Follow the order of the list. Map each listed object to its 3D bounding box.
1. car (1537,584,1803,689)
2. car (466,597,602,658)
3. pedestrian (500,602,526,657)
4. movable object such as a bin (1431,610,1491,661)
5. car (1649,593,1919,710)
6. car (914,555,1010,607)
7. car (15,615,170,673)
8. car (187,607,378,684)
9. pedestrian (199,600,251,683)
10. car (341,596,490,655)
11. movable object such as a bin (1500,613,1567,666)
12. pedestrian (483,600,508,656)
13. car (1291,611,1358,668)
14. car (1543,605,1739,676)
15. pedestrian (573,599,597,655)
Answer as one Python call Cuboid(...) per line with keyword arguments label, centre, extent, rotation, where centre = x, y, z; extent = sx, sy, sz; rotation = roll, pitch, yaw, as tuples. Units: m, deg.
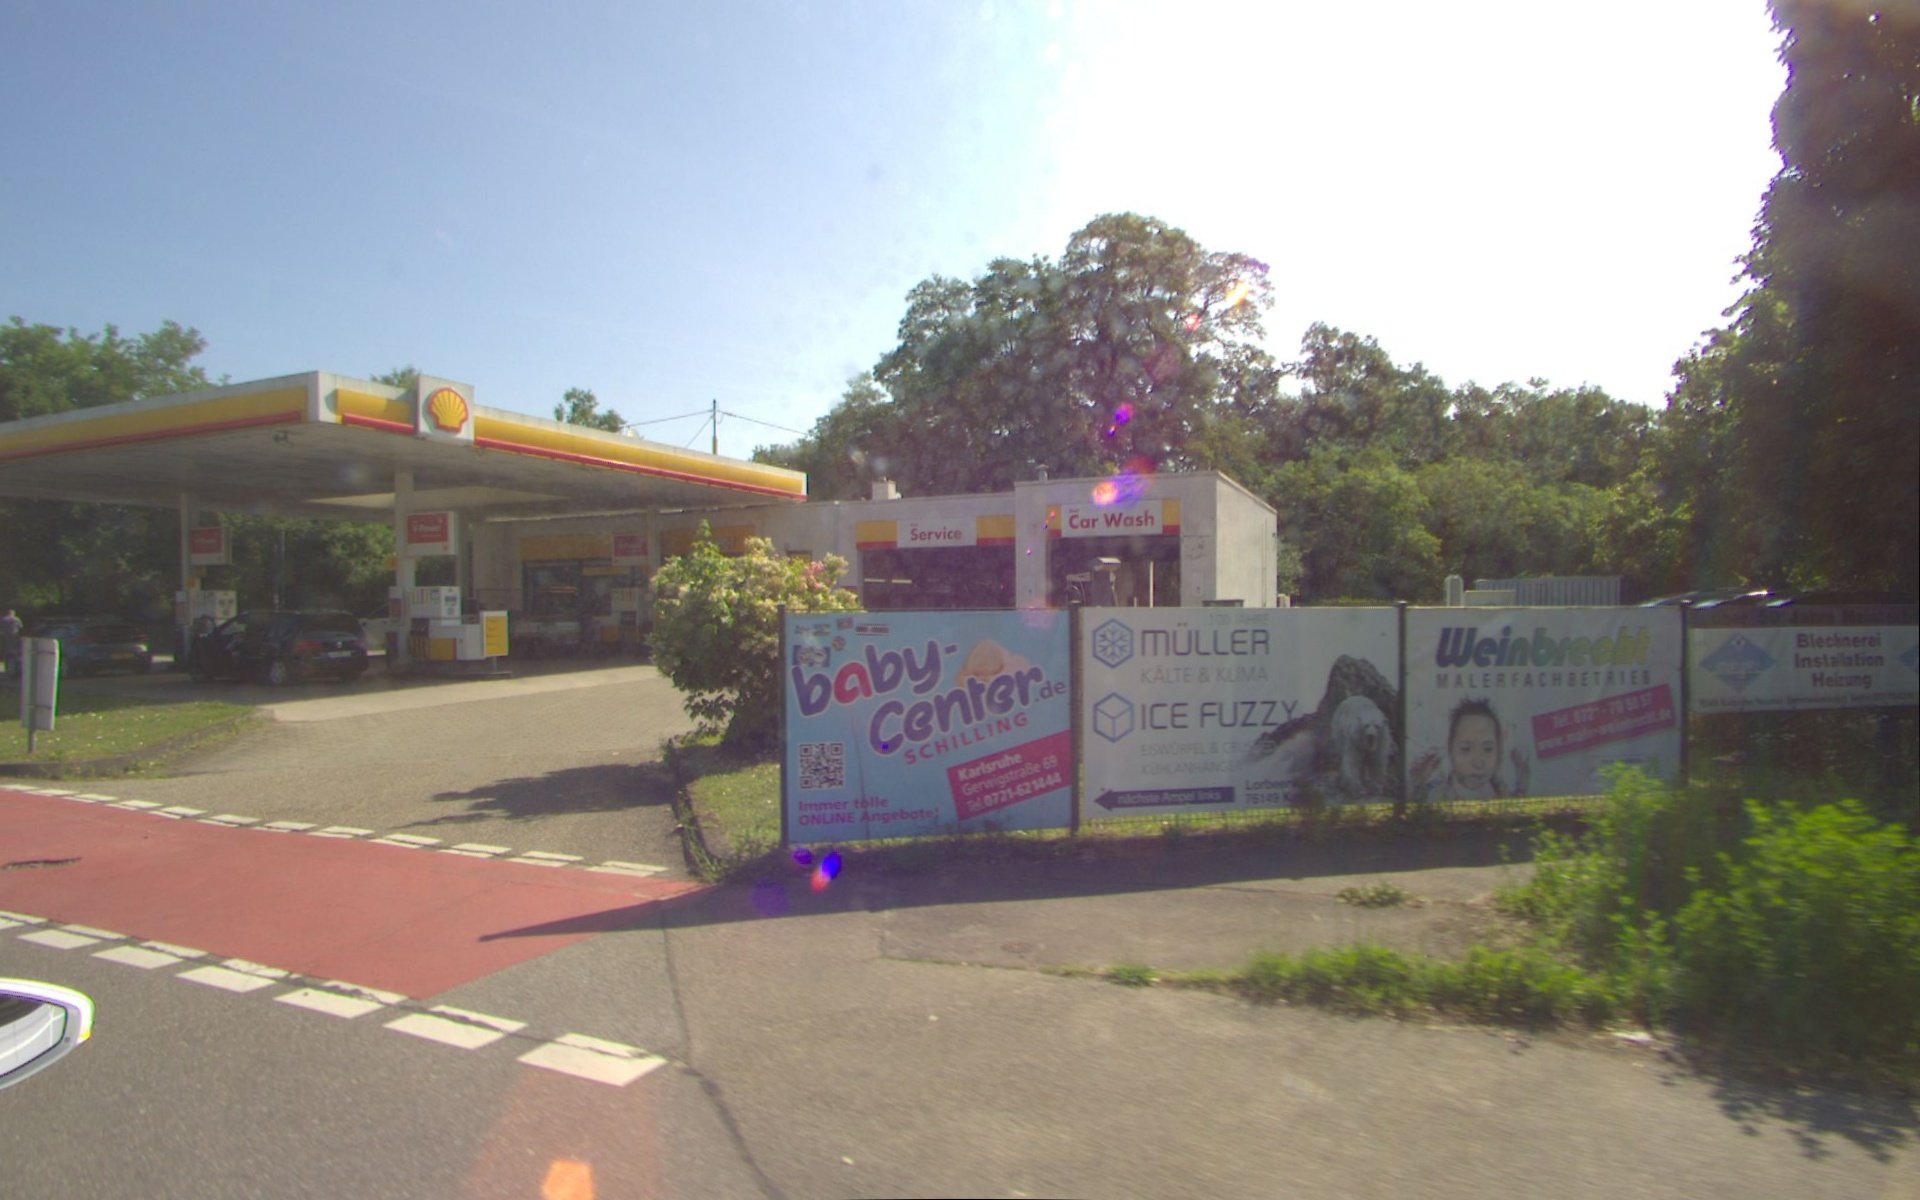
Cuboid(label="car", centre=(13.651, 0.727, 19.545), extent=(3.875, 1.816, 1.679), rotation=(-3, -1, 23))
Cuboid(label="car", centre=(-13.138, 0.838, 30.846), extent=(3.939, 1.750, 1.825), rotation=(-1, 0, 29))
Cuboid(label="pedestrian", centre=(-13.188, 0.866, 29.532), extent=(0.468, 1.614, 0.498), rotation=(0, 1, 29))
Cuboid(label="movable object such as a bin", centre=(13.757, 0.956, 27.526), extent=(0.835, 1.342, 1.231), rotation=(0, 0, -21))
Cuboid(label="car", centre=(13.026, 0.749, 15.258), extent=(3.873, 1.650, 1.679), rotation=(0, 0, 23))
Cuboid(label="car", centre=(0.147, -0.586, 33.537), extent=(1.626, 1.505, 3.987), rotation=(-1, -2, 27))
Cuboid(label="car", centre=(-22.338, 1.088, 25.769), extent=(3.788, 1.379, 1.796), rotation=(0, 0, 28))
Cuboid(label="car", centre=(-15.101, 0.963, 22.325), extent=(3.813, 1.599, 1.760), rotation=(0, 0, 24))
Cuboid(label="pedestrian", centre=(-15.992, 0.888, 21.789), extent=(0.801, 1.752, 0.670), rotation=(0, 1, 34))
Cuboid(label="car", centre=(-18.003, 0.818, 33.092), extent=(4.701, 1.862, 1.852), rotation=(0, 0, 24))
Cuboid(label="movable object such as a bin", centre=(14.501, 0.987, 25.354), extent=(0.850, 1.307, 1.234), rotation=(0, 0, -13))
Cuboid(label="pedestrian", centre=(-13.941, 0.831, 30.058), extent=(0.468, 1.653, 0.498), rotation=(0, 1, 29))
Cuboid(label="car", centre=(10.985, 1.178, 30.076), extent=(1.698, 1.595, 3.384), rotation=(-1, -2, 24))
Cuboid(label="car", centre=(15.313, 0.887, 22.723), extent=(3.454, 1.458, 1.677), rotation=(-1, 2, 26))
Cuboid(label="pedestrian", centre=(-11.272, 0.808, 30.099), extent=(0.493, 1.690, 0.474), rotation=(0, 1, 26))
